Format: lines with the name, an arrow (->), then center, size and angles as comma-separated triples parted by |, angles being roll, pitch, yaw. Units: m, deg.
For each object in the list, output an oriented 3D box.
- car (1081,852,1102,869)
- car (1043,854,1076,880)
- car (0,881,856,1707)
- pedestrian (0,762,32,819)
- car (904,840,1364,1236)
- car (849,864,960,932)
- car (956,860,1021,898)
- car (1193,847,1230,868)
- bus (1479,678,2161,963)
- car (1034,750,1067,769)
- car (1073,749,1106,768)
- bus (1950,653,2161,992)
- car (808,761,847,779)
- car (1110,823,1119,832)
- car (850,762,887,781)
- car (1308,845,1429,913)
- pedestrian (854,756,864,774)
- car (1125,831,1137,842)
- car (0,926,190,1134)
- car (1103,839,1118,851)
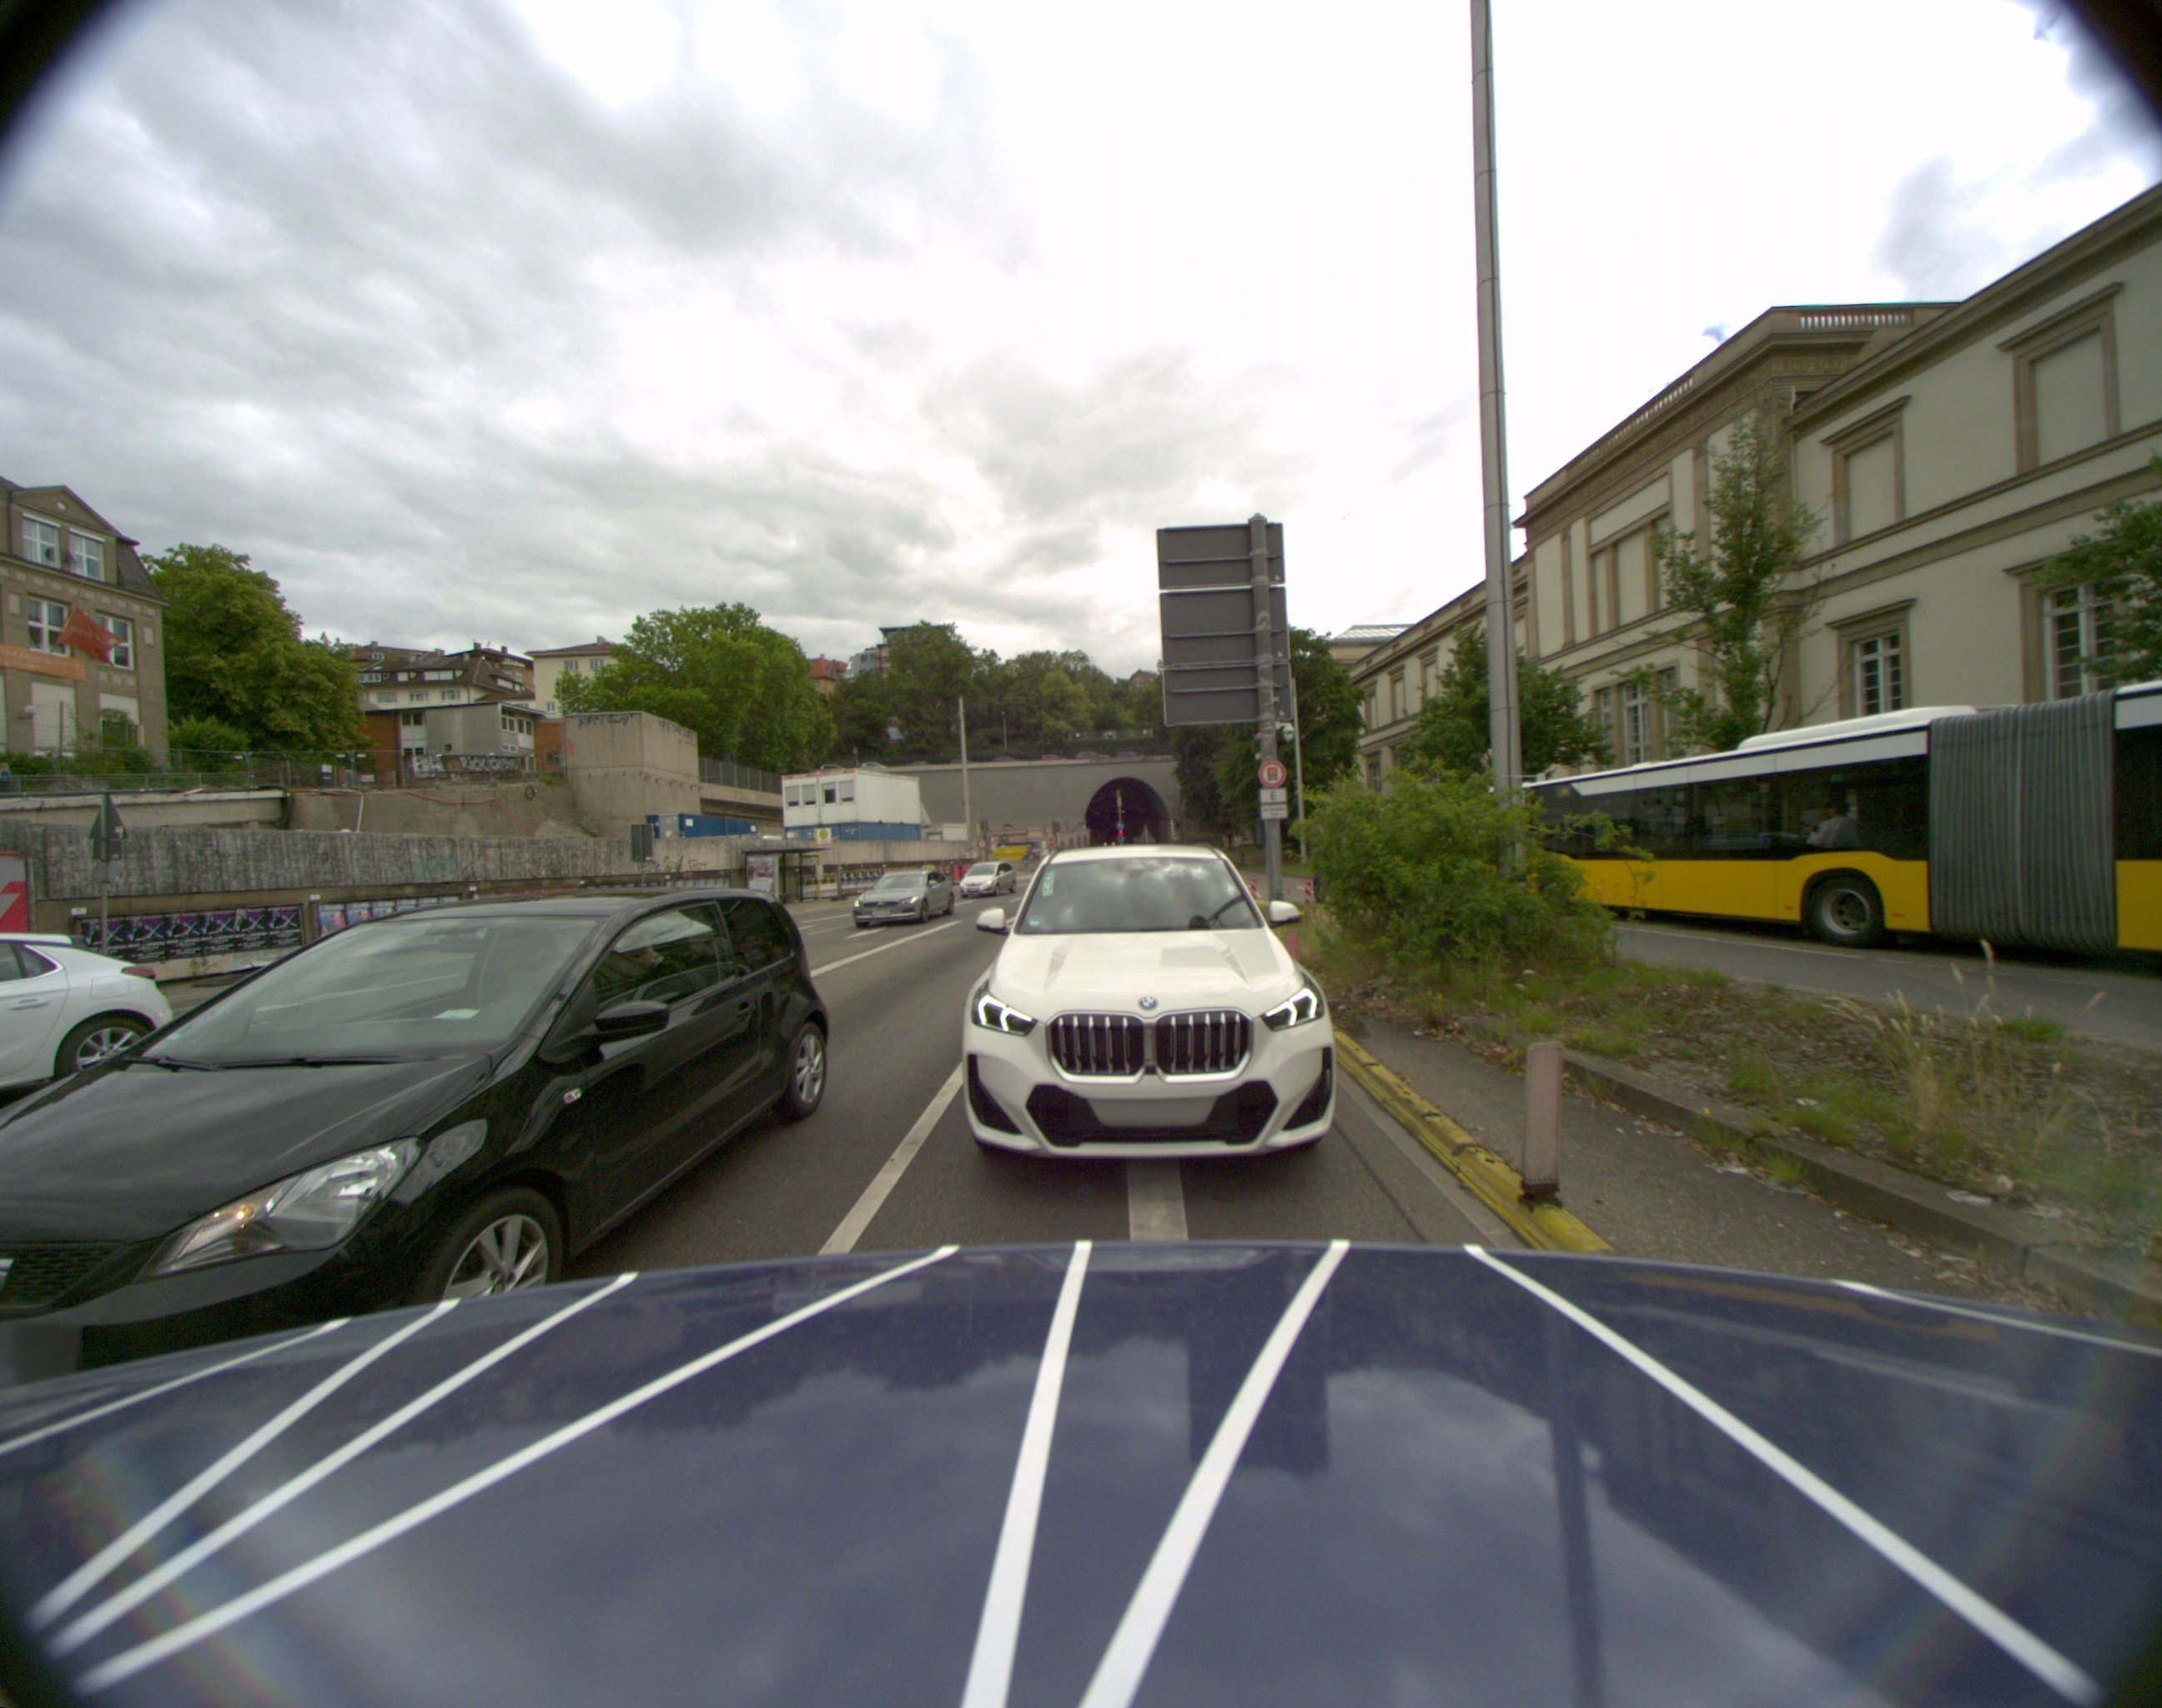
car -> 0.896, 0.519, 64.907 | 1.728, 1.310, 4.000 | -3, 0, 1
car -> -1.408, 0.855, 51.336 | 1.704, 1.550, 4.551 | -3, 0, 3
car -> -2.518, 0.979, 3.409 | 1.667, 1.487, 3.882 | -3, 0, 2
pedestrian -> -39.525, -2.325, 28.018 | 0.646, 2.002, 0.666 | -2, 1, -3
car -> 0.282, 0.773, 5.120 | 1.848, 1.581, 3.882 | -3, 0, 2
car -> -4.894, 1.150, 21.808 | 1.826, 1.562, 4.654 | -3, 0, 3
car -> -4.297, 1.127, 36.100 | 1.703, 1.550, 4.554 | -3, 0, 11
car -> 9.385, 0.236, 54.857 | 1.711, 1.505, 4.287 | 0, 0, -3
bus -> 11.154, -0.394, 13.433 | 2.853, 3.096, 9.747 | -3, 0, -1
car -> -3.816, -11.707, 94.395 | 3.998, 2.002, 1.999 | -2, 1, -2
car -> 1.062, -11.888, 94.480 | 3.998, 2.002, 1.999 | -2, 1, -2
bus -> 11.301, -0.342, 4.030 | 2.853, 3.096, 9.121 | -3, 0, 0
car -> -31.101, -10.306, 93.296 | 3.998, 2.002, 1.999 | -2, 1, -5
car -> 6.308, -5.101, 144.729 | 1.667, 1.582, 3.882 | -1, 0, 2
car -> -26.052, -10.121, 93.361 | 3.998, 2.002, 1.999 | -2, 1, -5
car -> 7.636, 0.605, 20.585 | 1.701, 1.580, 3.882 | -3, 0, -1
pedestrian -> -26.424, -10.603, 90.418 | 0.851, 2.002, 0.905 | -3, 1, -3
car -> 7.610, -2.639, 116.744 | 1.667, 1.582, 3.882 | -1, 0, 2
car -> -9.132, 1.446, 4.986 | 1.663, 1.471, 4.000 | -3, 0, 3
car -> 3.962, -1.229, 102.800 | 1.730, 1.435, 4.001 | -3, 0, 5
